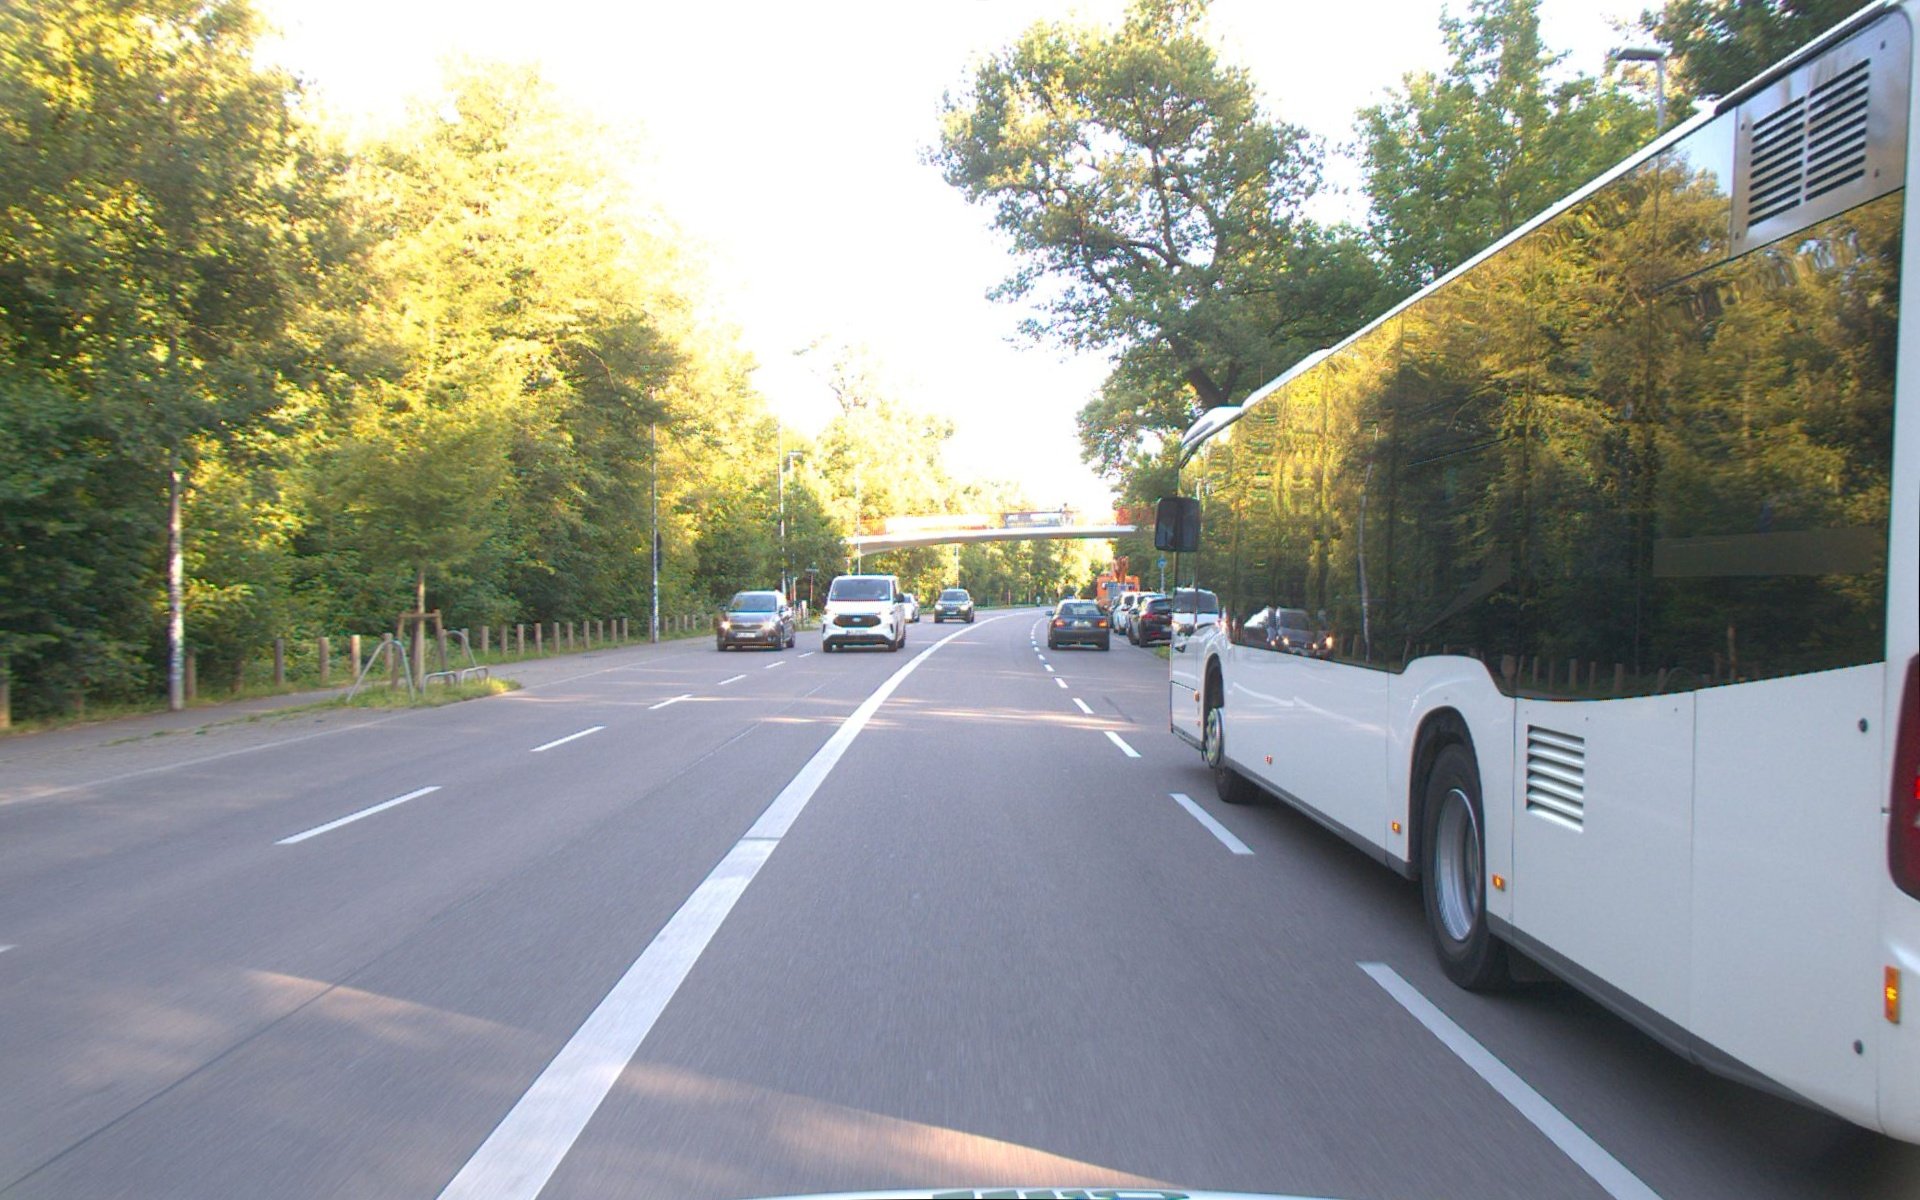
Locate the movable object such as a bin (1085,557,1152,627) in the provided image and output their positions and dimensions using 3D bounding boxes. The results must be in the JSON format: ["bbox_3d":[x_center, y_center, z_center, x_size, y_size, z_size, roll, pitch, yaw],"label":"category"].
[{"bbox_3d":[8.094,-0.421,85.486,2.702,3.429,7.600,0,0,0],"label":"movable object such as a bin"}]

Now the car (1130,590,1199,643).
[{"bbox_3d":[6.231,0.485,50.756,1.692,1.551,4.090,0,0,1],"label":"car"}]

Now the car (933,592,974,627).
[{"bbox_3d":[-0.288,0.488,85.259,1.878,1.734,4.444,0,0,3],"label":"car"}]

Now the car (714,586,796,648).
[{"bbox_3d":[-5.564,0.431,45.381,1.763,1.627,4.000,0,0,0],"label":"car"}]

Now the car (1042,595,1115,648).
[{"bbox_3d":[3.377,0.584,47.926,1.693,1.467,4.088,0,0,-2],"label":"car"}]

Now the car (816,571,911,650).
[{"bbox_3d":[-2.536,0.271,44.508,2.161,1.995,4.914,0,0,1],"label":"car"}]

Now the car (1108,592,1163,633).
[{"bbox_3d":[7.003,0.480,66.297,1.800,1.601,4.460,0,0,1],"label":"car"}]

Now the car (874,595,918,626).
[{"bbox_3d":[-3.314,0.521,86.187,1.858,1.558,4.531,0,0,3],"label":"car"}]

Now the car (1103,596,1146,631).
[{"bbox_3d":[7.658,0.602,77.241,1.692,1.601,4.090,0,0,1],"label":"car"}]

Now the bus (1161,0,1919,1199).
[{"bbox_3d":[3.201,-0.244,9.232,2.649,3.278,12.278,0,0,0],"label":"bus"}]

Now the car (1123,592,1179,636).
[{"bbox_3d":[7.036,0.496,61.219,1.692,1.569,4.090,0,0,1],"label":"car"}]
